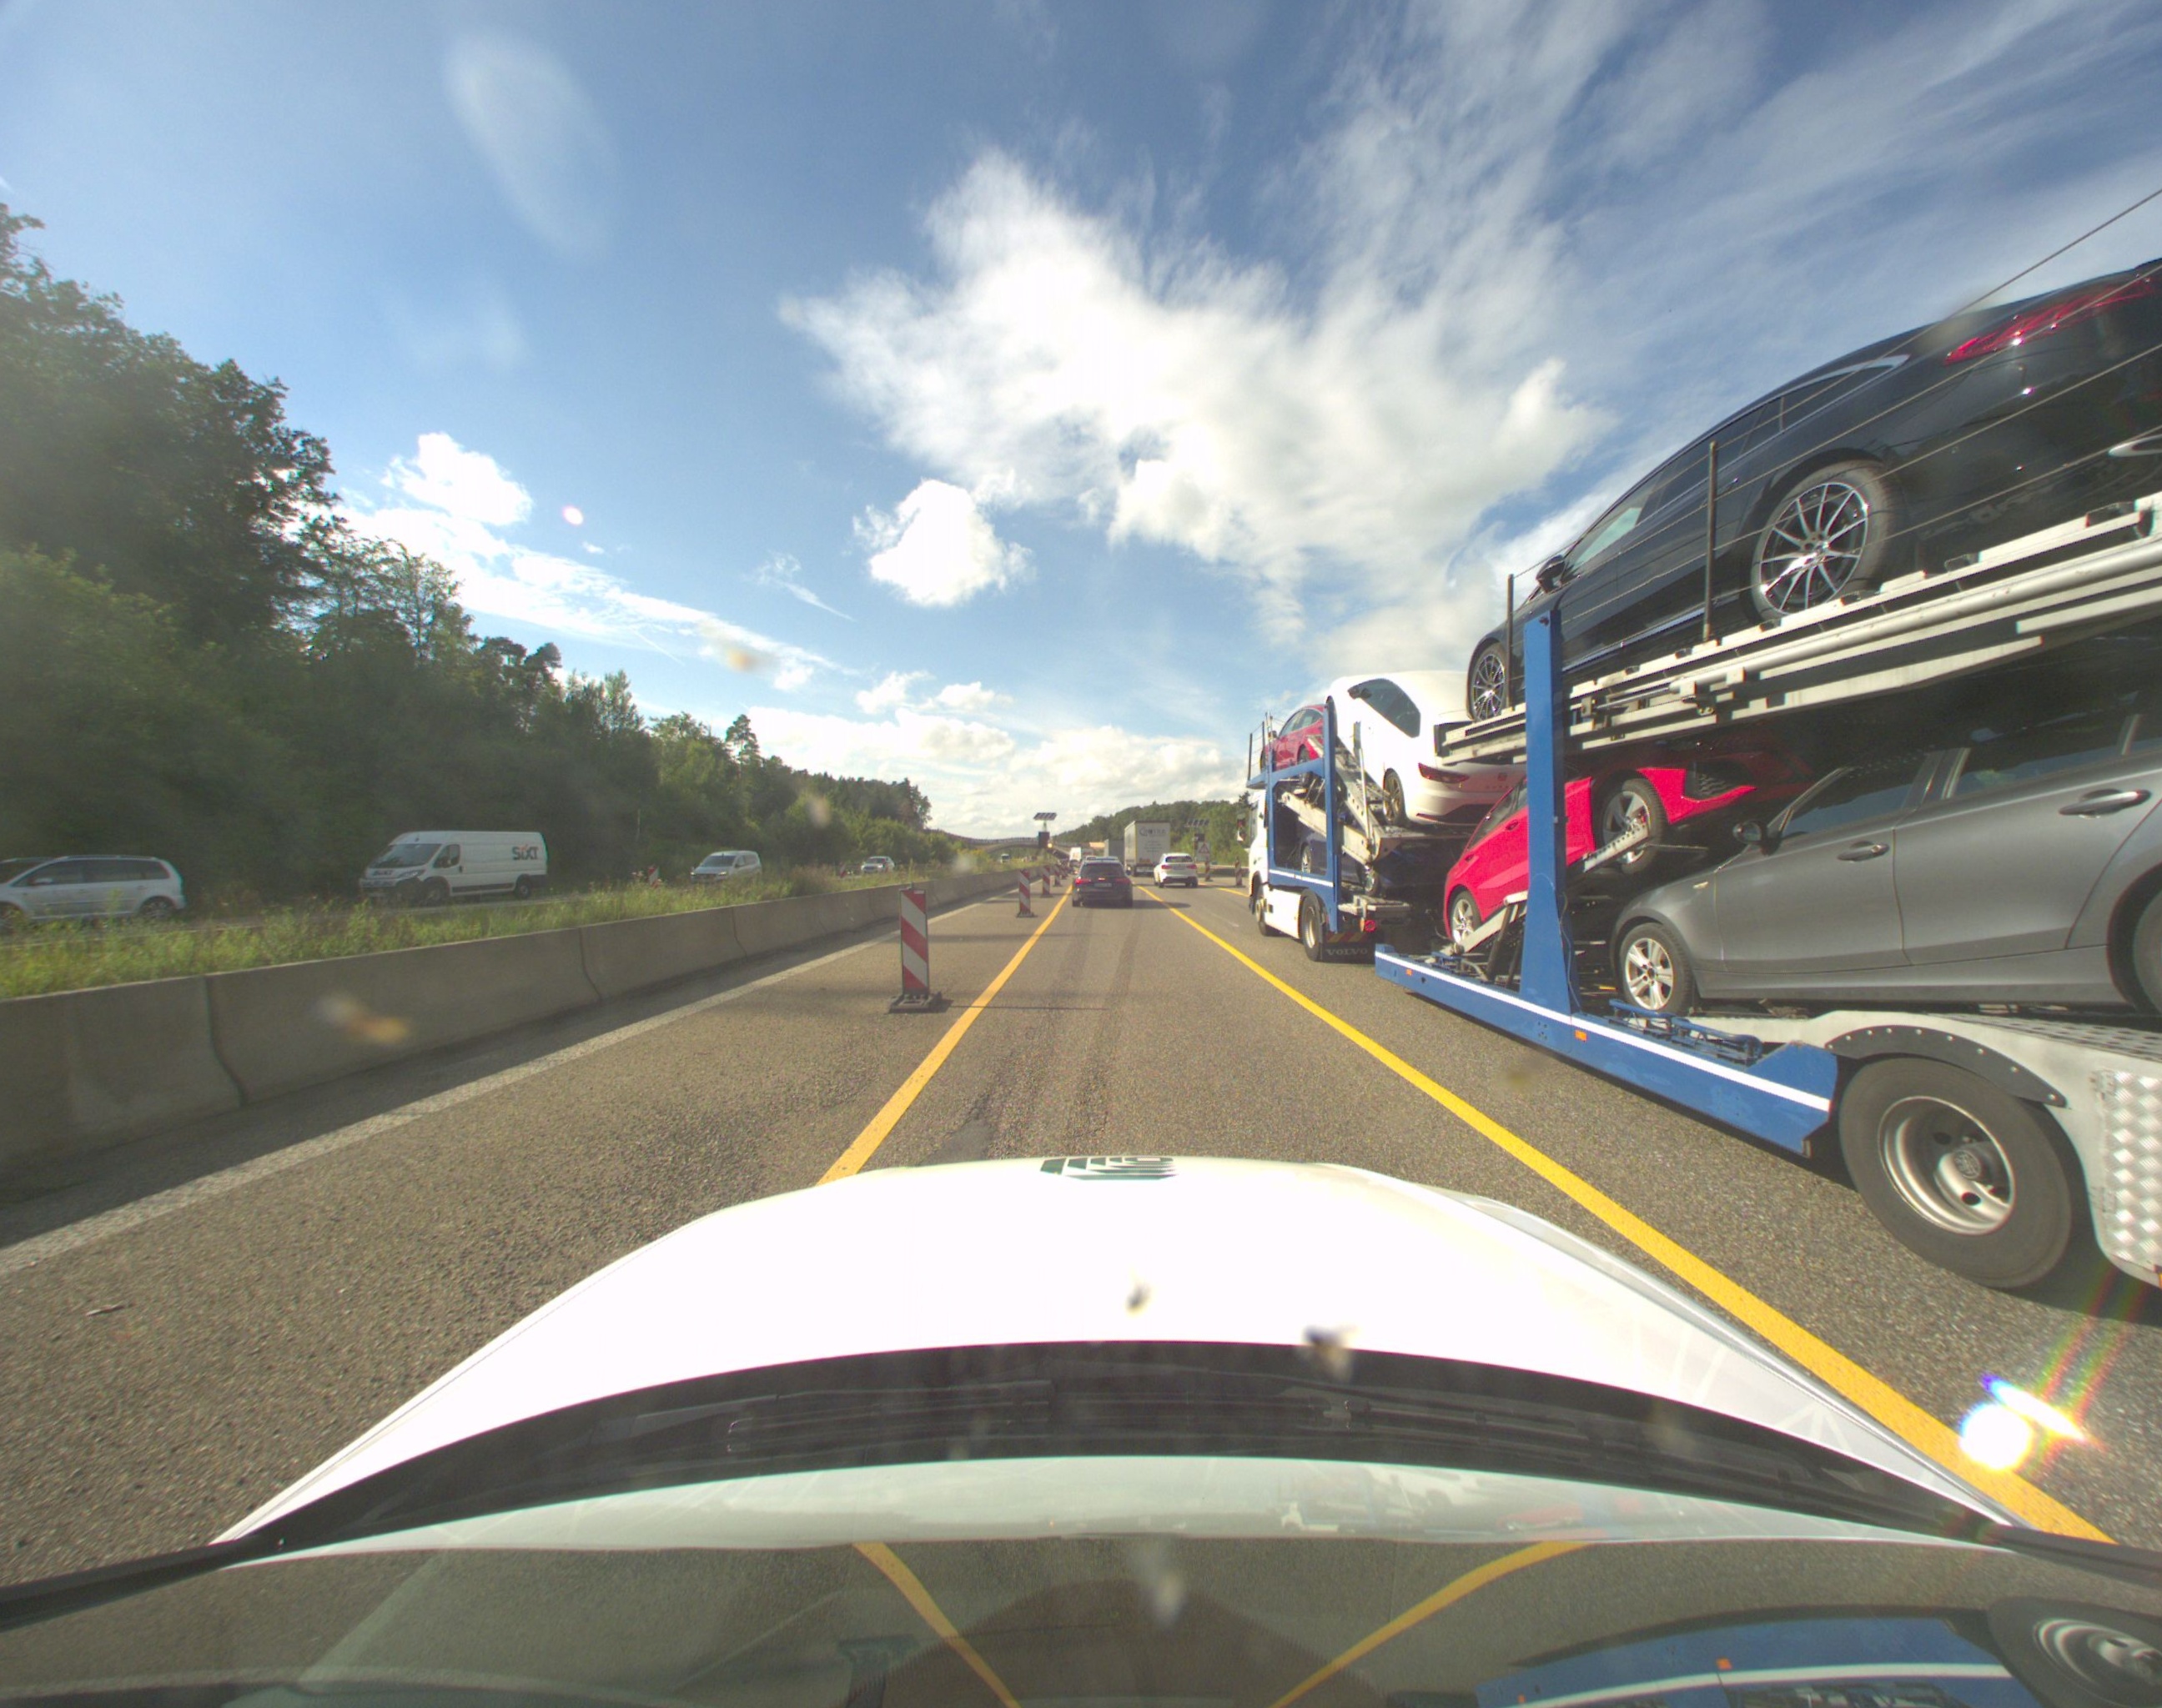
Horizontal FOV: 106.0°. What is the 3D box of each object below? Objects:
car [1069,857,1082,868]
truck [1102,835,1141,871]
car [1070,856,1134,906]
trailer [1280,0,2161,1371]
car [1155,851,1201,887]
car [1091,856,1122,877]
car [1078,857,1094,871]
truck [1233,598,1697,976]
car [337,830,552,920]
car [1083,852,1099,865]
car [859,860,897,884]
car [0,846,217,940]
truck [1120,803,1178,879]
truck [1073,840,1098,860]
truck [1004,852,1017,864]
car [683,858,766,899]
[{"bbox_3d":[-1.079,1.629,153.280,1.991,2.014,3.991,0,-1,-6],"label":"car"},{"bbox_3d":[5.363,-0.071,111.439,4.309,4.600,11.113,0,-1,-3],"label":"truck"},{"bbox_3d":[0.679,0.816,25.909,1.883,1.446,4.001,0,-1,2],"label":"car"},{"bbox_3d":[4.800,-0.704,4.712,3.712,4.196,16.231,0,-1,1],"label":"trailer"},{"bbox_3d":[4.732,0.725,40.115,1.883,1.643,4.019,0,-1,2],"label":"car"},{"bbox_3d":[1.805,0.853,57.901,1.886,1.446,3.995,0,-1,-3],"label":"car"},{"bbox_3d":[0.731,1.474,122.282,1.990,2.014,3.994,0,-1,-4],"label":"car"},{"bbox_3d":[5.001,-0.717,13.028,3.748,4.196,7.951,0,-1,1],"label":"truck"},{"bbox_3d":[-21.215,0.664,27.703,2.020,2.684,6.525,0,-1,2],"label":"car"},{"bbox_3d":[1.222,0.571,105.350,1.885,1.643,4.014,0,-1,-2],"label":"car"},{"bbox_3d":[-15.701,1.393,63.191,1.771,1.786,4.366,0,-1,2],"label":"car"},{"bbox_3d":[-22.099,0.782,17.496,1.853,1.853,4.763,0,-1,2],"label":"car"},{"bbox_3d":[5.179,-0.840,65.386,3.664,5.353,16.205,0,-1,1],"label":"truck"},{"bbox_3d":[0.905,-0.740,169.135,3.652,3.928,11.034,0,-1,-8],"label":"truck"},{"bbox_3d":[-19.591,1.108,226.516,2.774,3.490,4.941,0,-1,2],"label":"truck"},{"bbox_3d":[-16.439,1.082,37.799,1.771,1.786,4.366,0,-1,2],"label":"car"}]
